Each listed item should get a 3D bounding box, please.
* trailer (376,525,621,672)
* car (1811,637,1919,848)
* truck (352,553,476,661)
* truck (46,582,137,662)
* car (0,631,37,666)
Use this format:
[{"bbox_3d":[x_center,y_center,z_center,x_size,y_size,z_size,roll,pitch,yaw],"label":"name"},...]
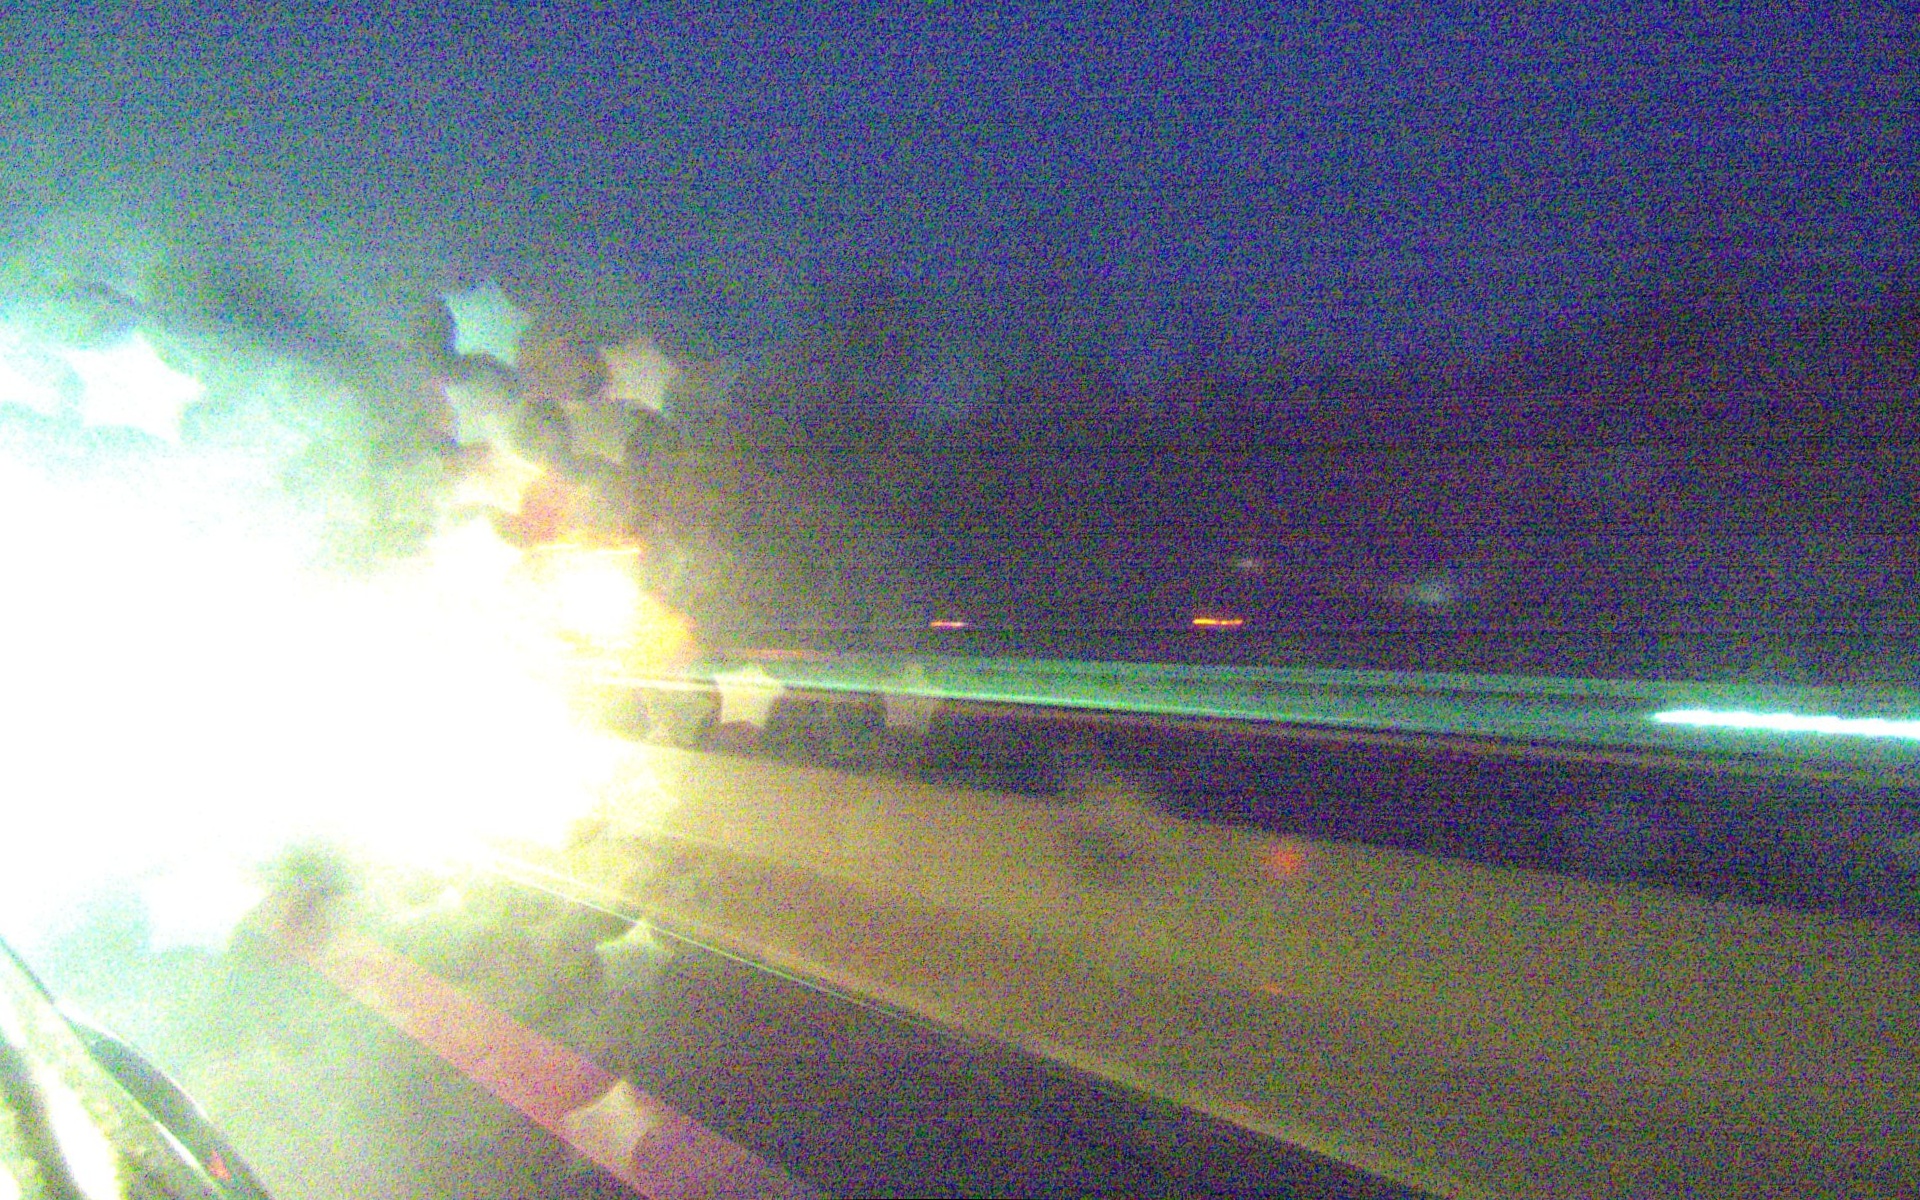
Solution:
[{"bbox_3d":[-17.290,-0.018,36.979,13.715,4.579,2.595,-1,1,41],"label":"trailer"},{"bbox_3d":[9.454,1.141,7.578,4.668,1.537,1.973,-1,1,42],"label":"car"},{"bbox_3d":[-22.466,0.257,41.547,5.675,4.143,2.578,-1,1,41],"label":"truck"},{"bbox_3d":[-73.104,1.711,84.942,16.616,6.149,3.294,0,2,41],"label":"truck"},{"bbox_3d":[-58.108,2.915,62.030,3.996,2.029,1.726,-2,-1,40],"label":"car"}]
